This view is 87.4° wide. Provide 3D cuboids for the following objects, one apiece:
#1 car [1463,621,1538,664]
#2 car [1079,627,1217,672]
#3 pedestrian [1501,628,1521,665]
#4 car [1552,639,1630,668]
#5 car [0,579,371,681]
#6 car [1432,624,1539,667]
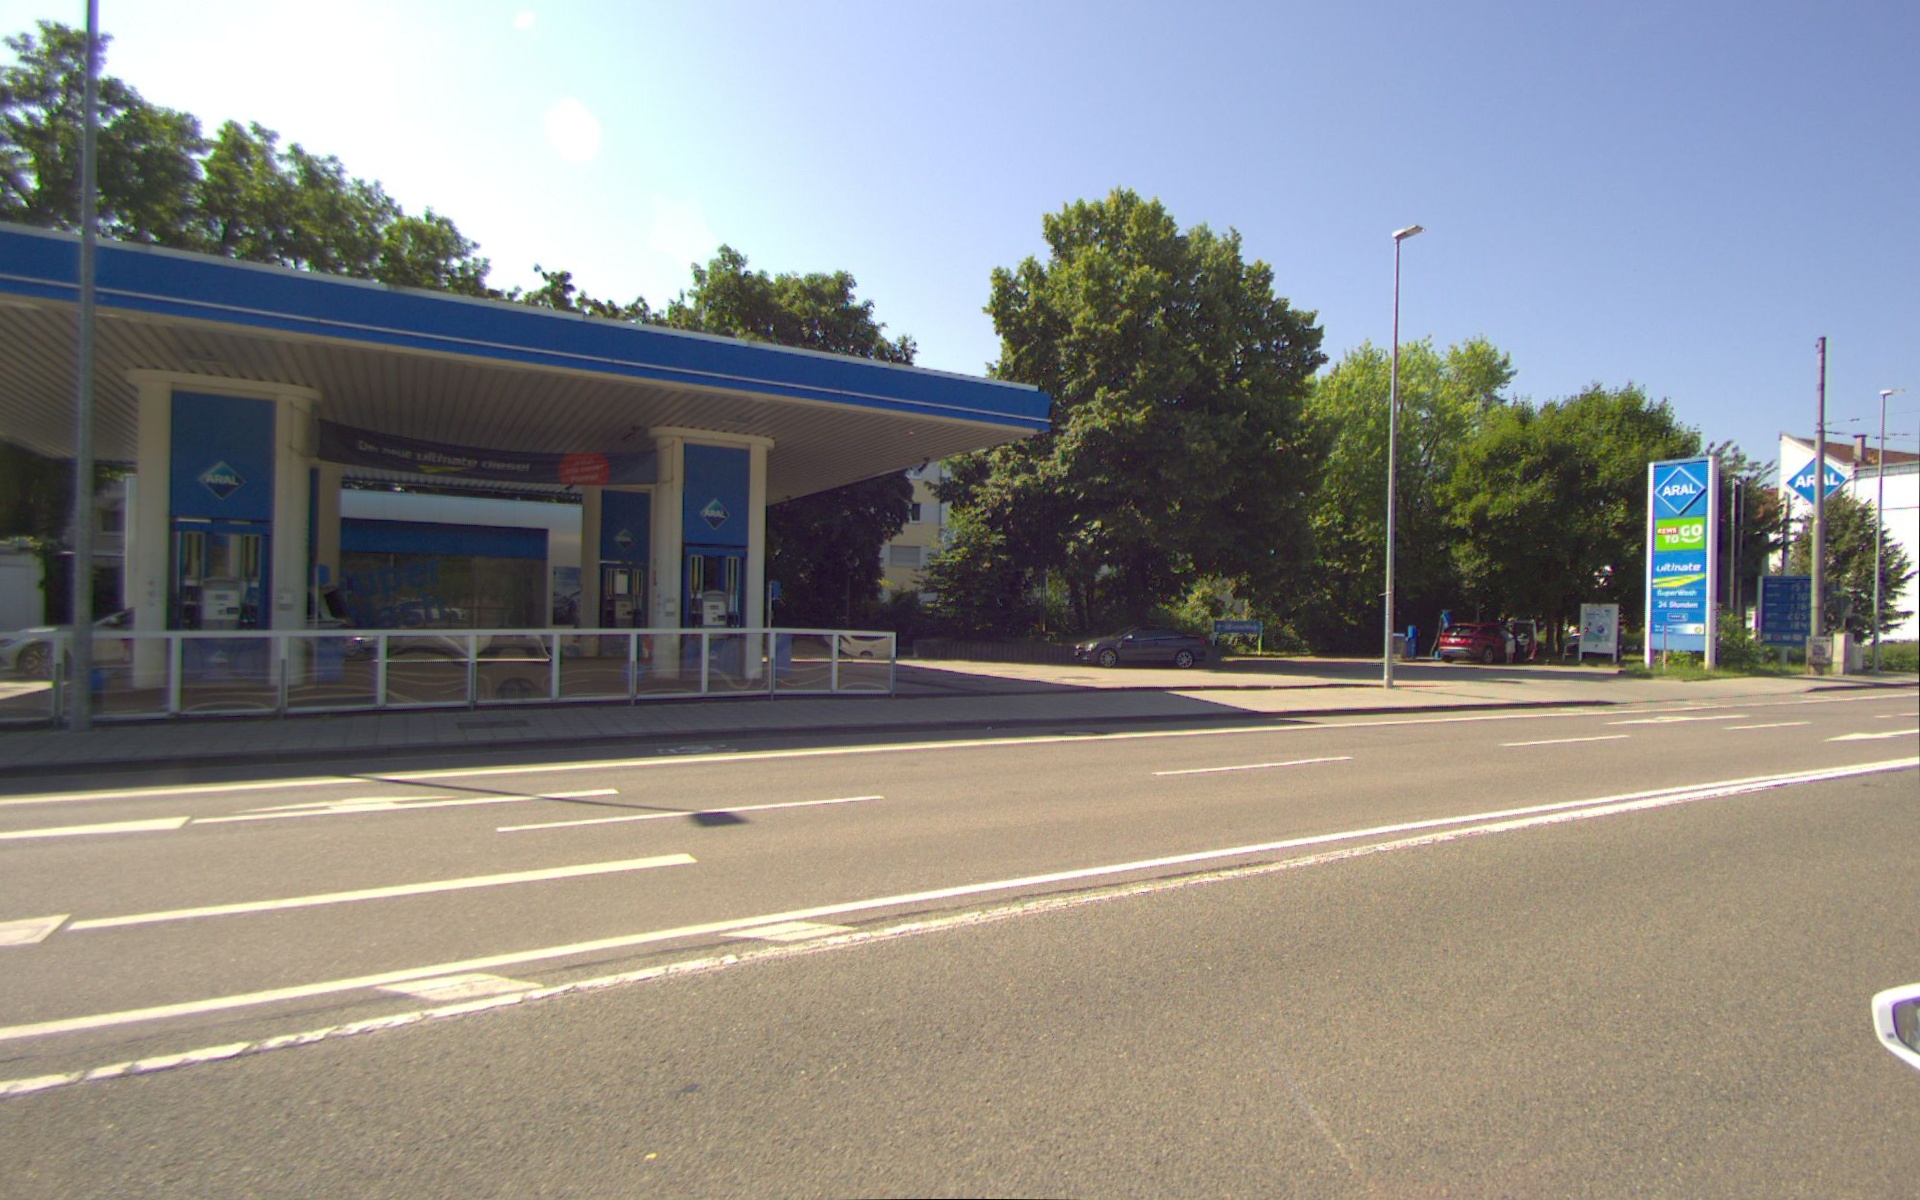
[{"bbox_3d":[34.064,2.647,63.392,1.759,2.571,4.172,1,-1,-16],"label":"car"},{"bbox_3d":[6.202,1.631,33.369,4.164,1.363,1.803,1,-1,-7],"label":"car"},{"bbox_3d":[22.175,1.868,40.436,0.494,1.501,0.496,1,-1,-30],"label":"pedestrian"},{"bbox_3d":[36.059,3.028,57.488,1.634,1.503,3.598,1,-1,-16],"label":"car"},{"bbox_3d":[-15.265,0.607,20.164,5.897,1.805,1.834,2,-1,-32],"label":"car"},{"bbox_3d":[21.384,1.819,40.856,4.465,1.591,1.791,0,0,-31],"label":"car"}]
